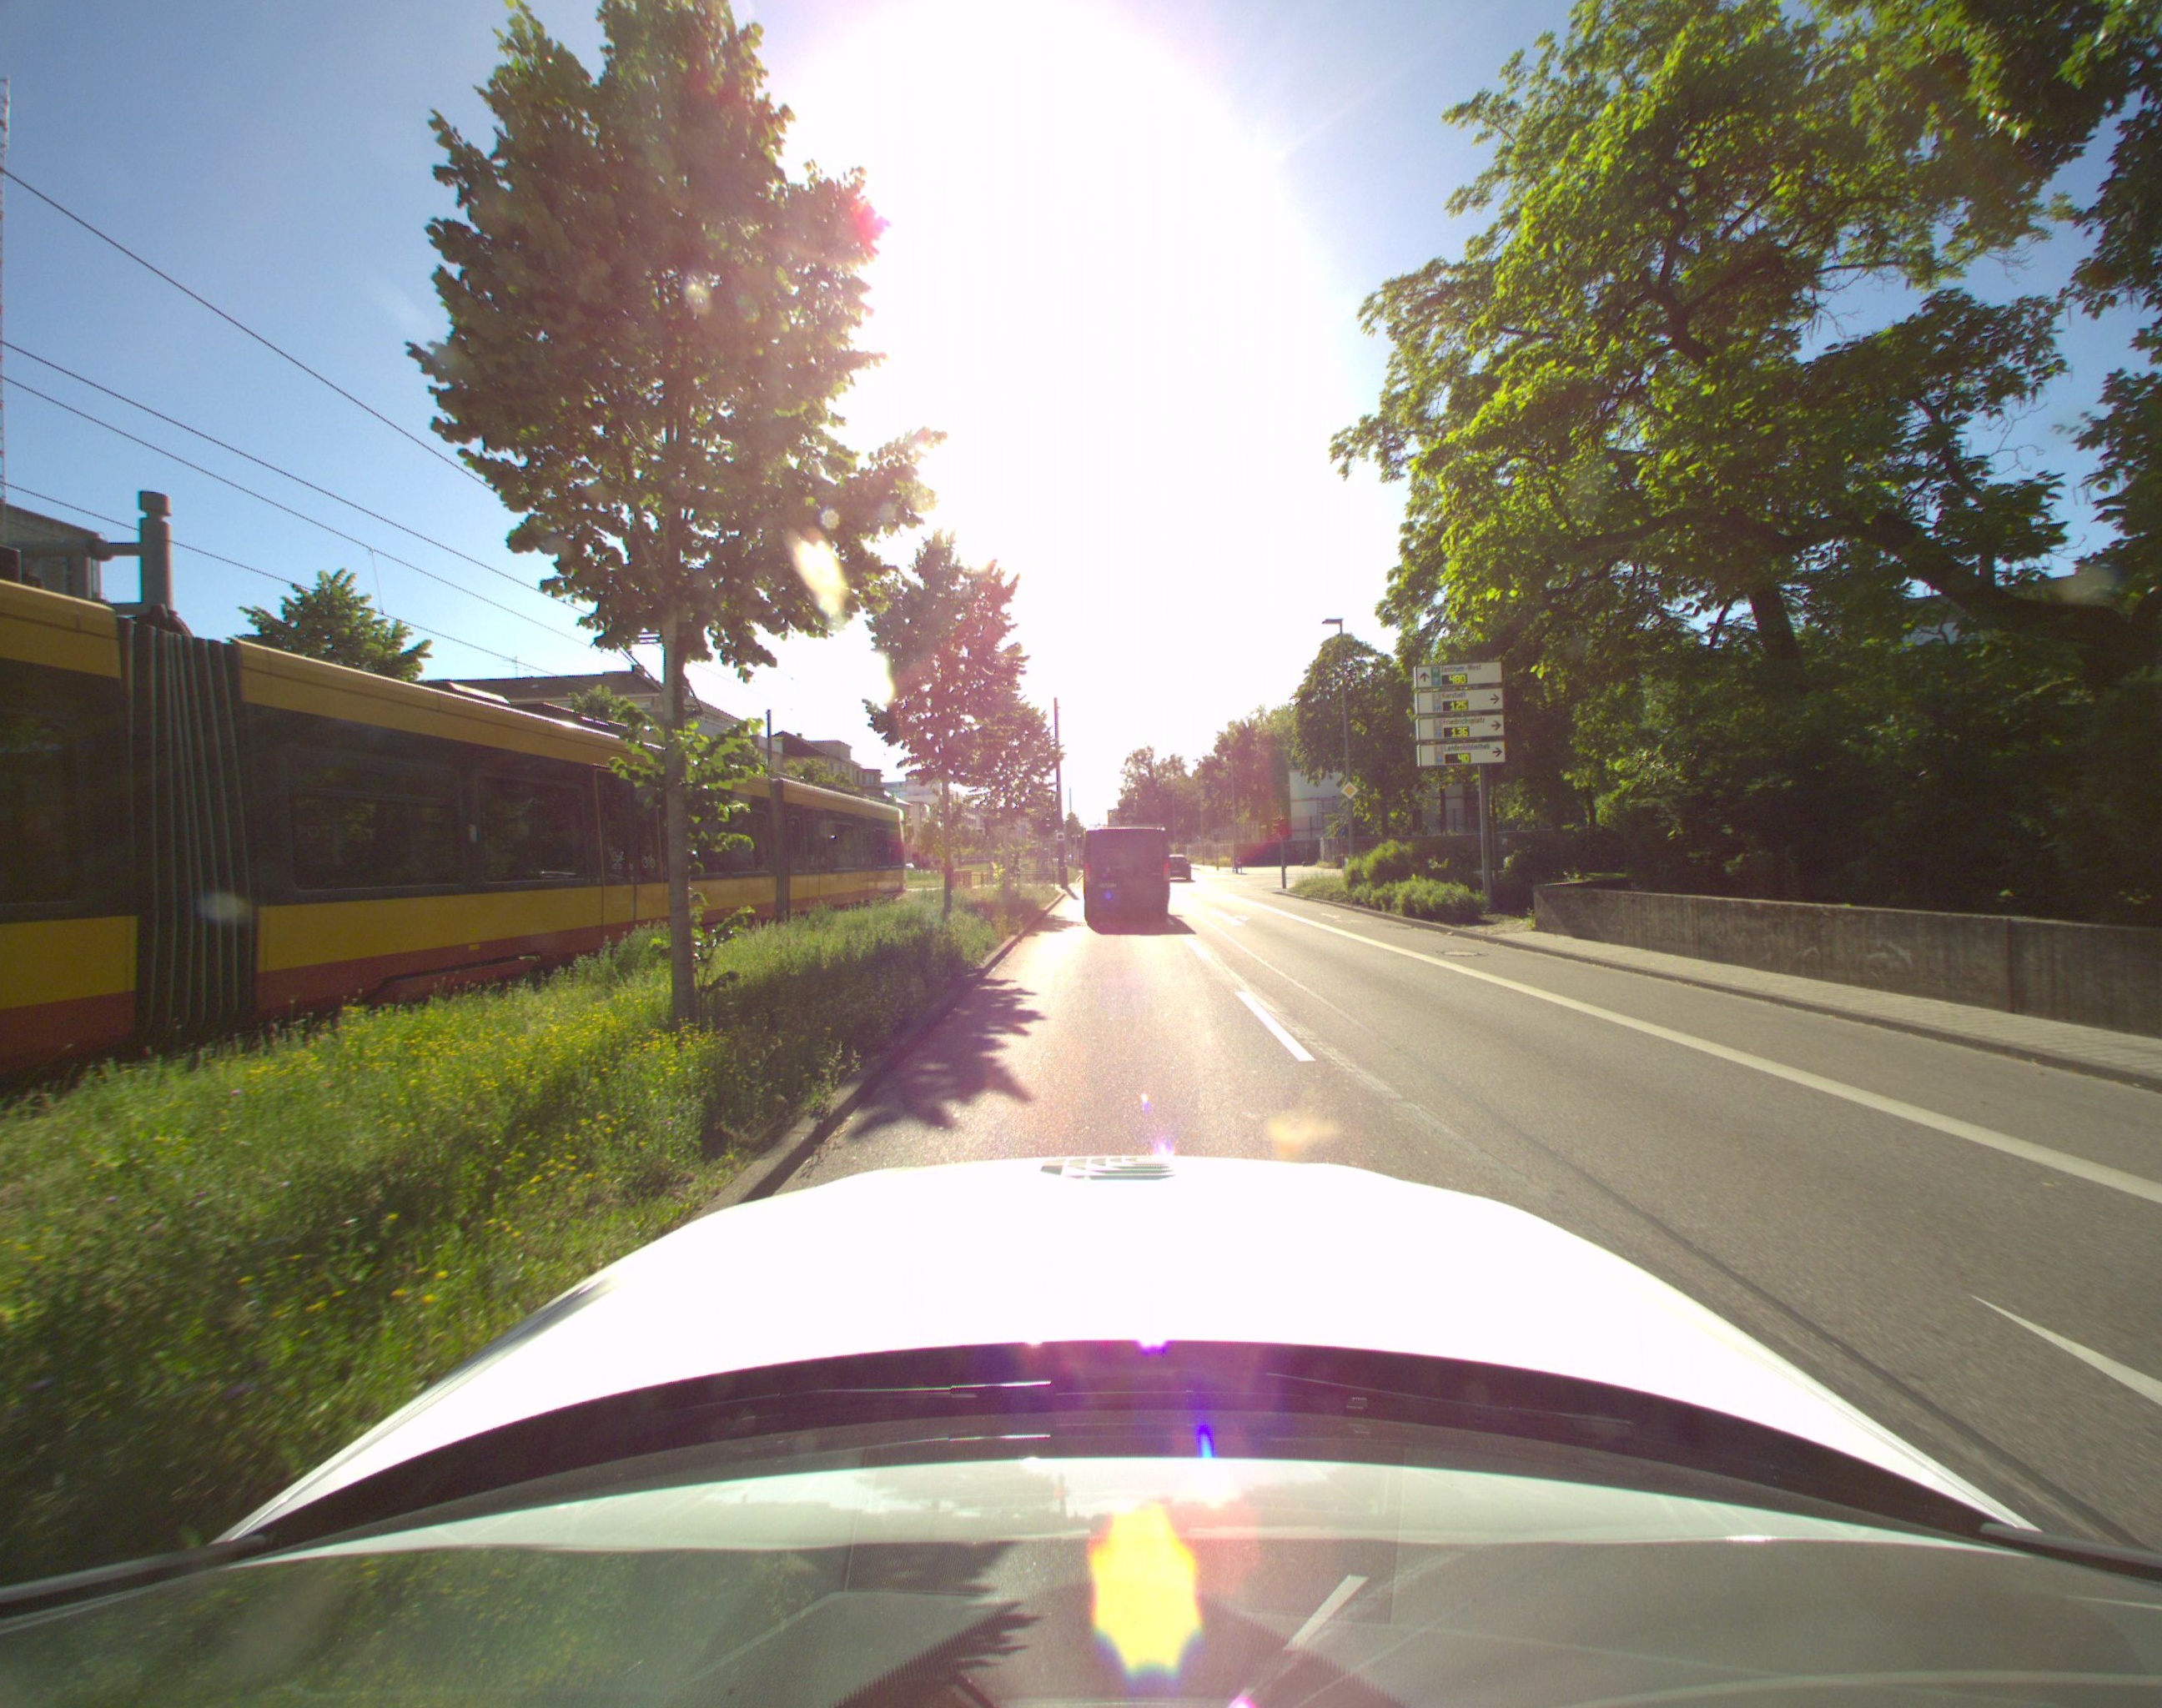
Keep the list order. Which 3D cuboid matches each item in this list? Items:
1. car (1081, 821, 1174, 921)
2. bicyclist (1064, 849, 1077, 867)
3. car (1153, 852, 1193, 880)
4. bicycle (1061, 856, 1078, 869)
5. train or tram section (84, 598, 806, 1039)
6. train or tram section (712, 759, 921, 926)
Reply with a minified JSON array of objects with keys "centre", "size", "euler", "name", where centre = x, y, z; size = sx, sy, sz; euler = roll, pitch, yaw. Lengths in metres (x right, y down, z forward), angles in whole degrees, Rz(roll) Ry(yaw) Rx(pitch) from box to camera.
[{"centre":[1.087,0.398,20.608],"size":[2.075,2.249,4.000],"euler":[-1,0,1],"name":"car"},{"centre":[-0.913,0.319,70.590],"size":[0.830,1.512,0.724],"euler":[-1,0,-25],"name":"bicyclist"},{"centre":[5.121,0.669,45.693],"size":[1.758,1.462,3.998],"euler":[-1,0,-1],"name":"car"},{"centre":[-1.011,0.750,70.822],"size":[0.736,1.091,2.066],"euler":[-1,0,-25],"name":"bicycle"},{"centre":[-7.258,-0.288,12.497],"size":[1.986,3.669,11.317],"euler":[-1,0,1],"name":"train or tram section"},{"centre":[-7.037,-0.235,23.976],"size":[1.986,3.669,11.687],"euler":[-1,0,2],"name":"train or tram section"}]
